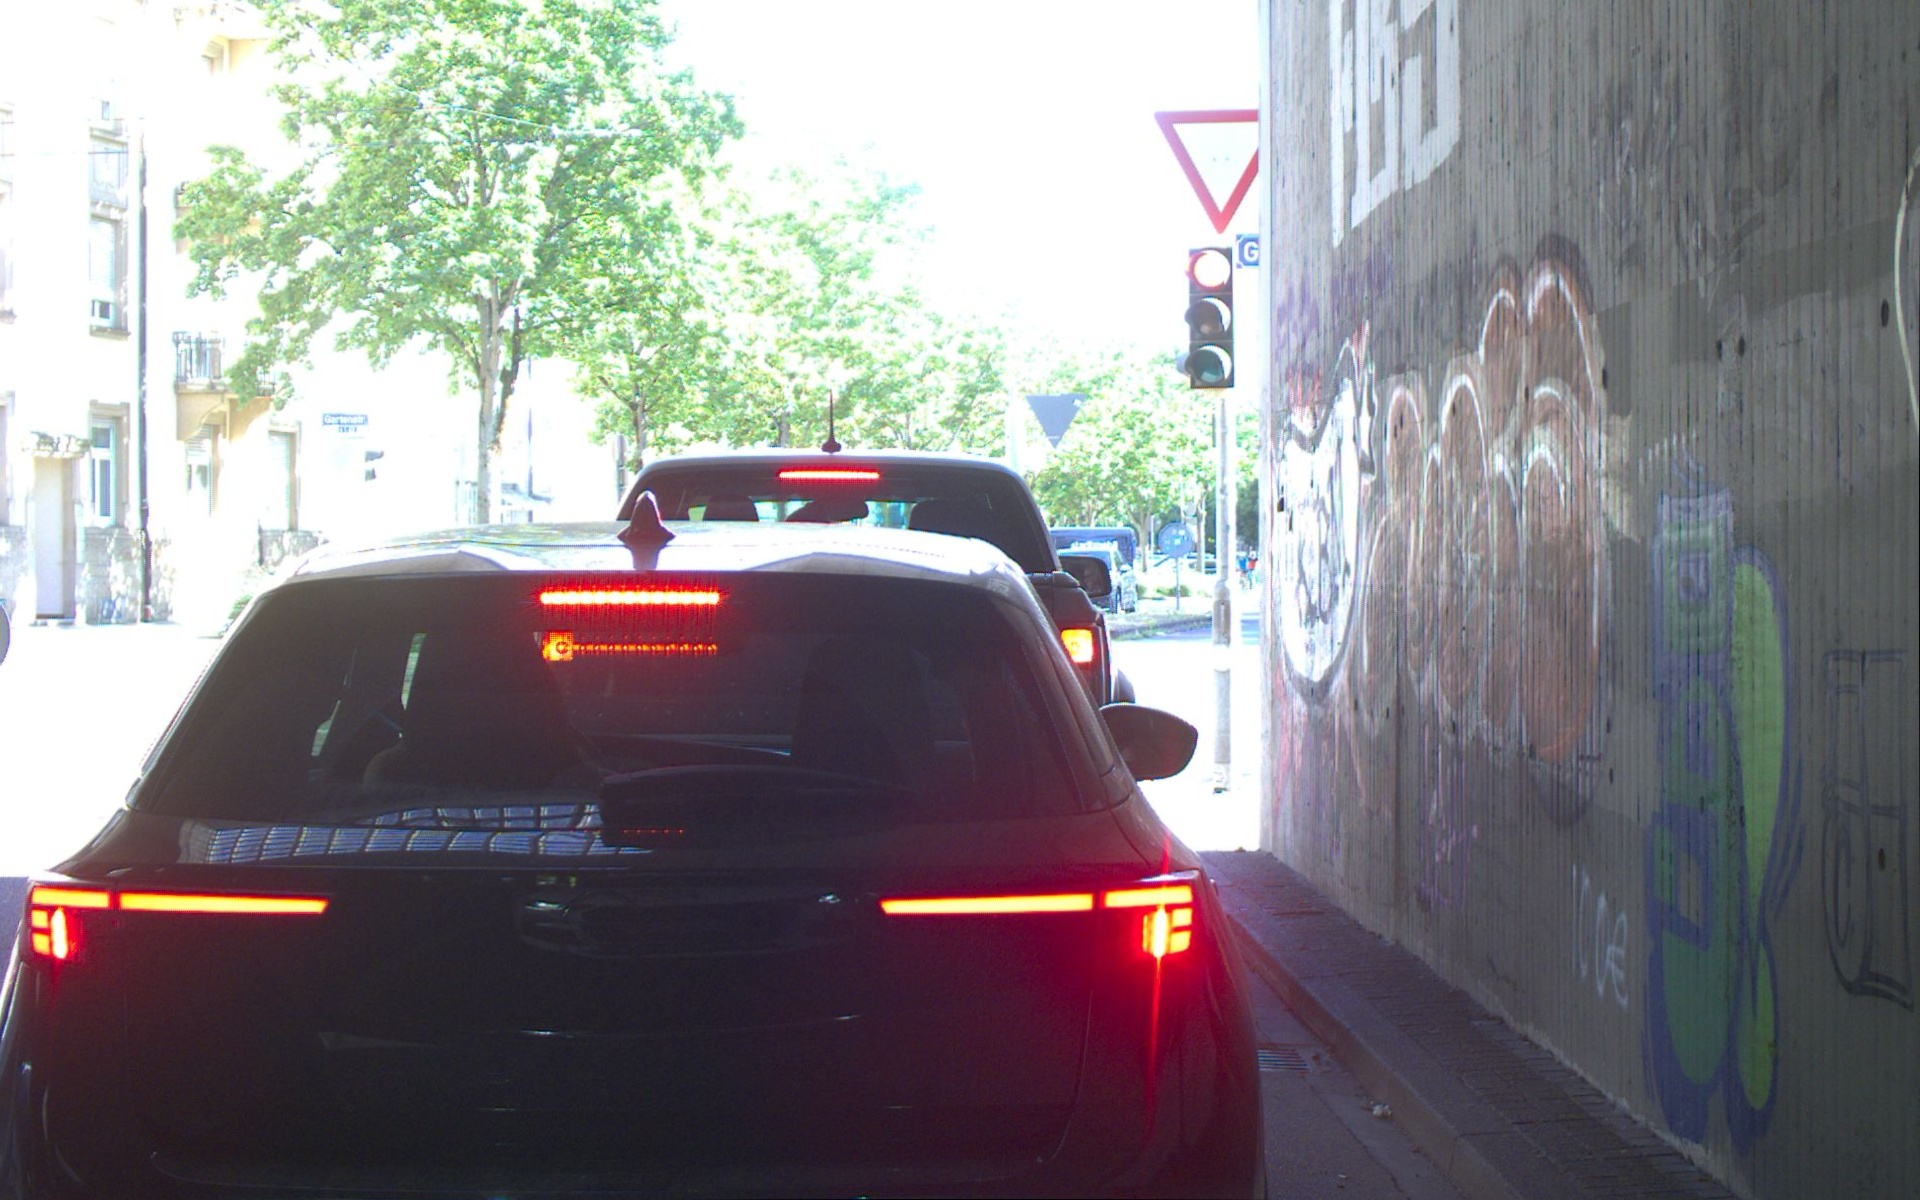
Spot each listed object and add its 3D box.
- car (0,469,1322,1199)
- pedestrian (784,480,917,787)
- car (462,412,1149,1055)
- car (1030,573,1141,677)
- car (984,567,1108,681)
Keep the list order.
[{"bbox_3d":[-0.486,0.565,6.098,1.764,1.566,4.001,1,2,-1],"label":"car"},{"bbox_3d":[-0.624,0.185,19.882,0.731,1.728,0.874,1,0,-1],"label":"pedestrian"},{"bbox_3d":[-0.471,0.352,12.033,1.993,1.865,4.000,0,1,-1],"label":"car"},{"bbox_3d":[2.532,0.466,68.422,1.994,1.963,4.163,1,1,5],"label":"car"},{"bbox_3d":[1.587,0.405,62.277,1.994,1.963,4.163,1,1,5],"label":"car"}]
